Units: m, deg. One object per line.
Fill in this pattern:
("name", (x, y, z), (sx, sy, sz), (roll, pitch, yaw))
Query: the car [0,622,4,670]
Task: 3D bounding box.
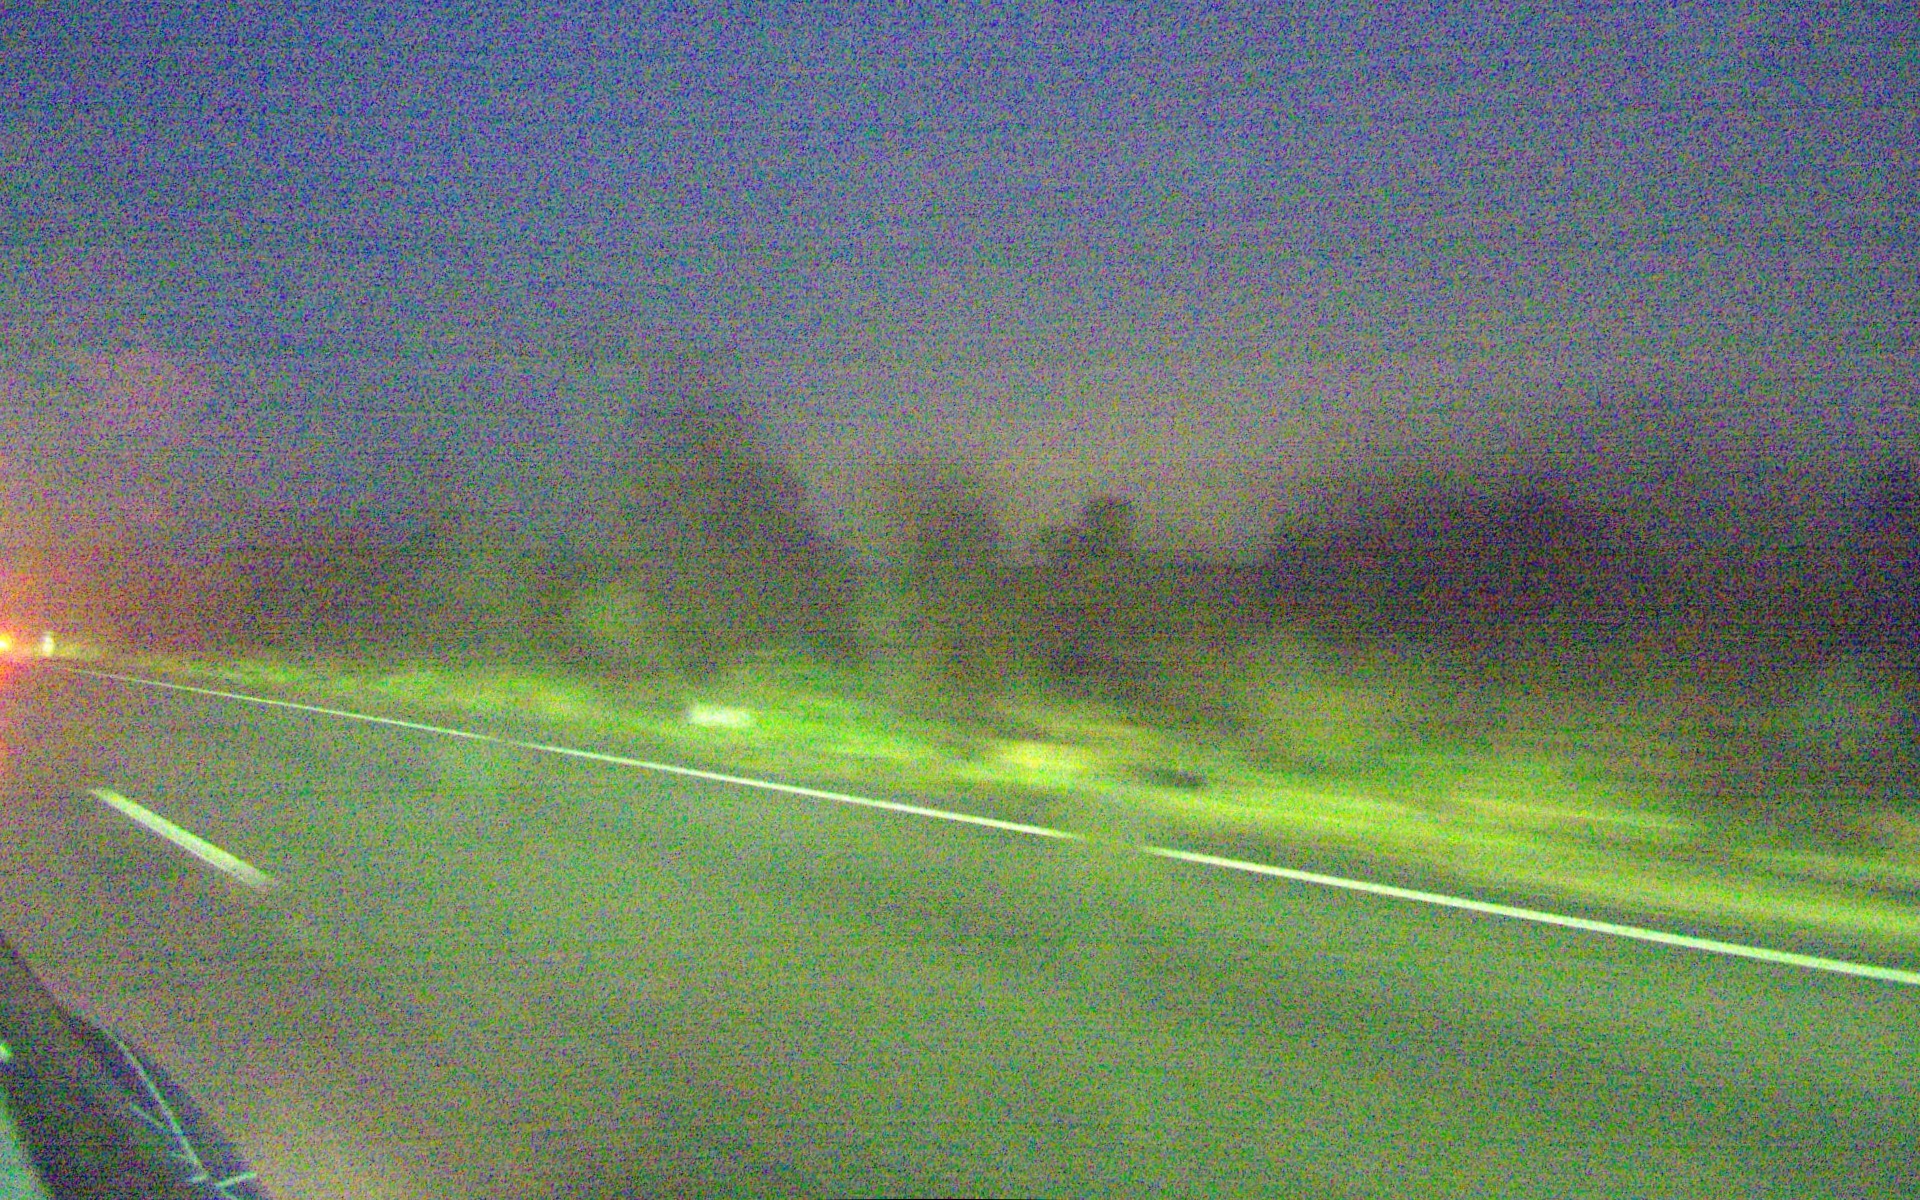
("car", (-30.068, 1.329, 30.365), (3.467, 1.412, 1.580), (0, -2, 40))
